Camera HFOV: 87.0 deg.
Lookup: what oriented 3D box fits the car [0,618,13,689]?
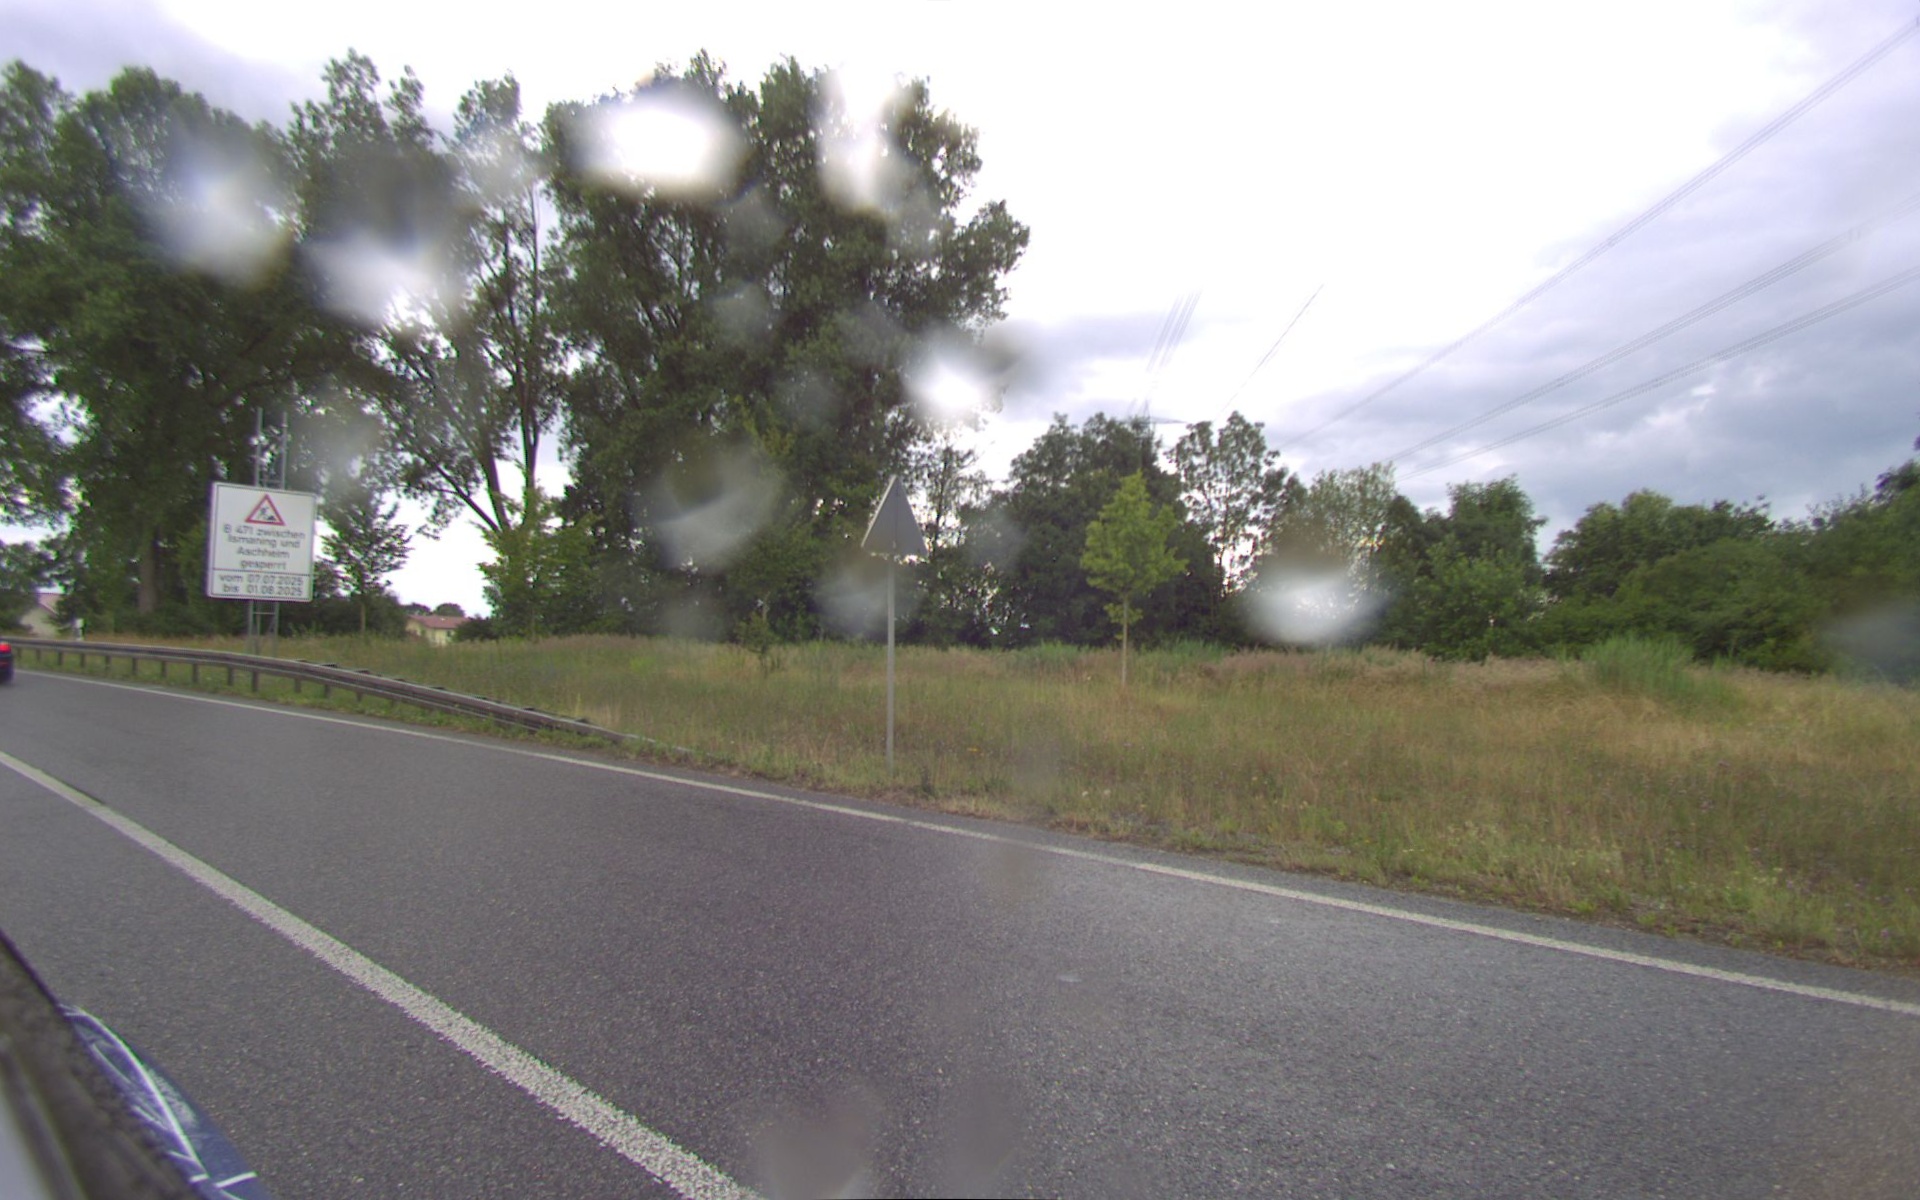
[{"bbox_3d":[-21.416,1.081,21.289,4.315,1.407,1.614,0,0,39],"label":"car"}]
